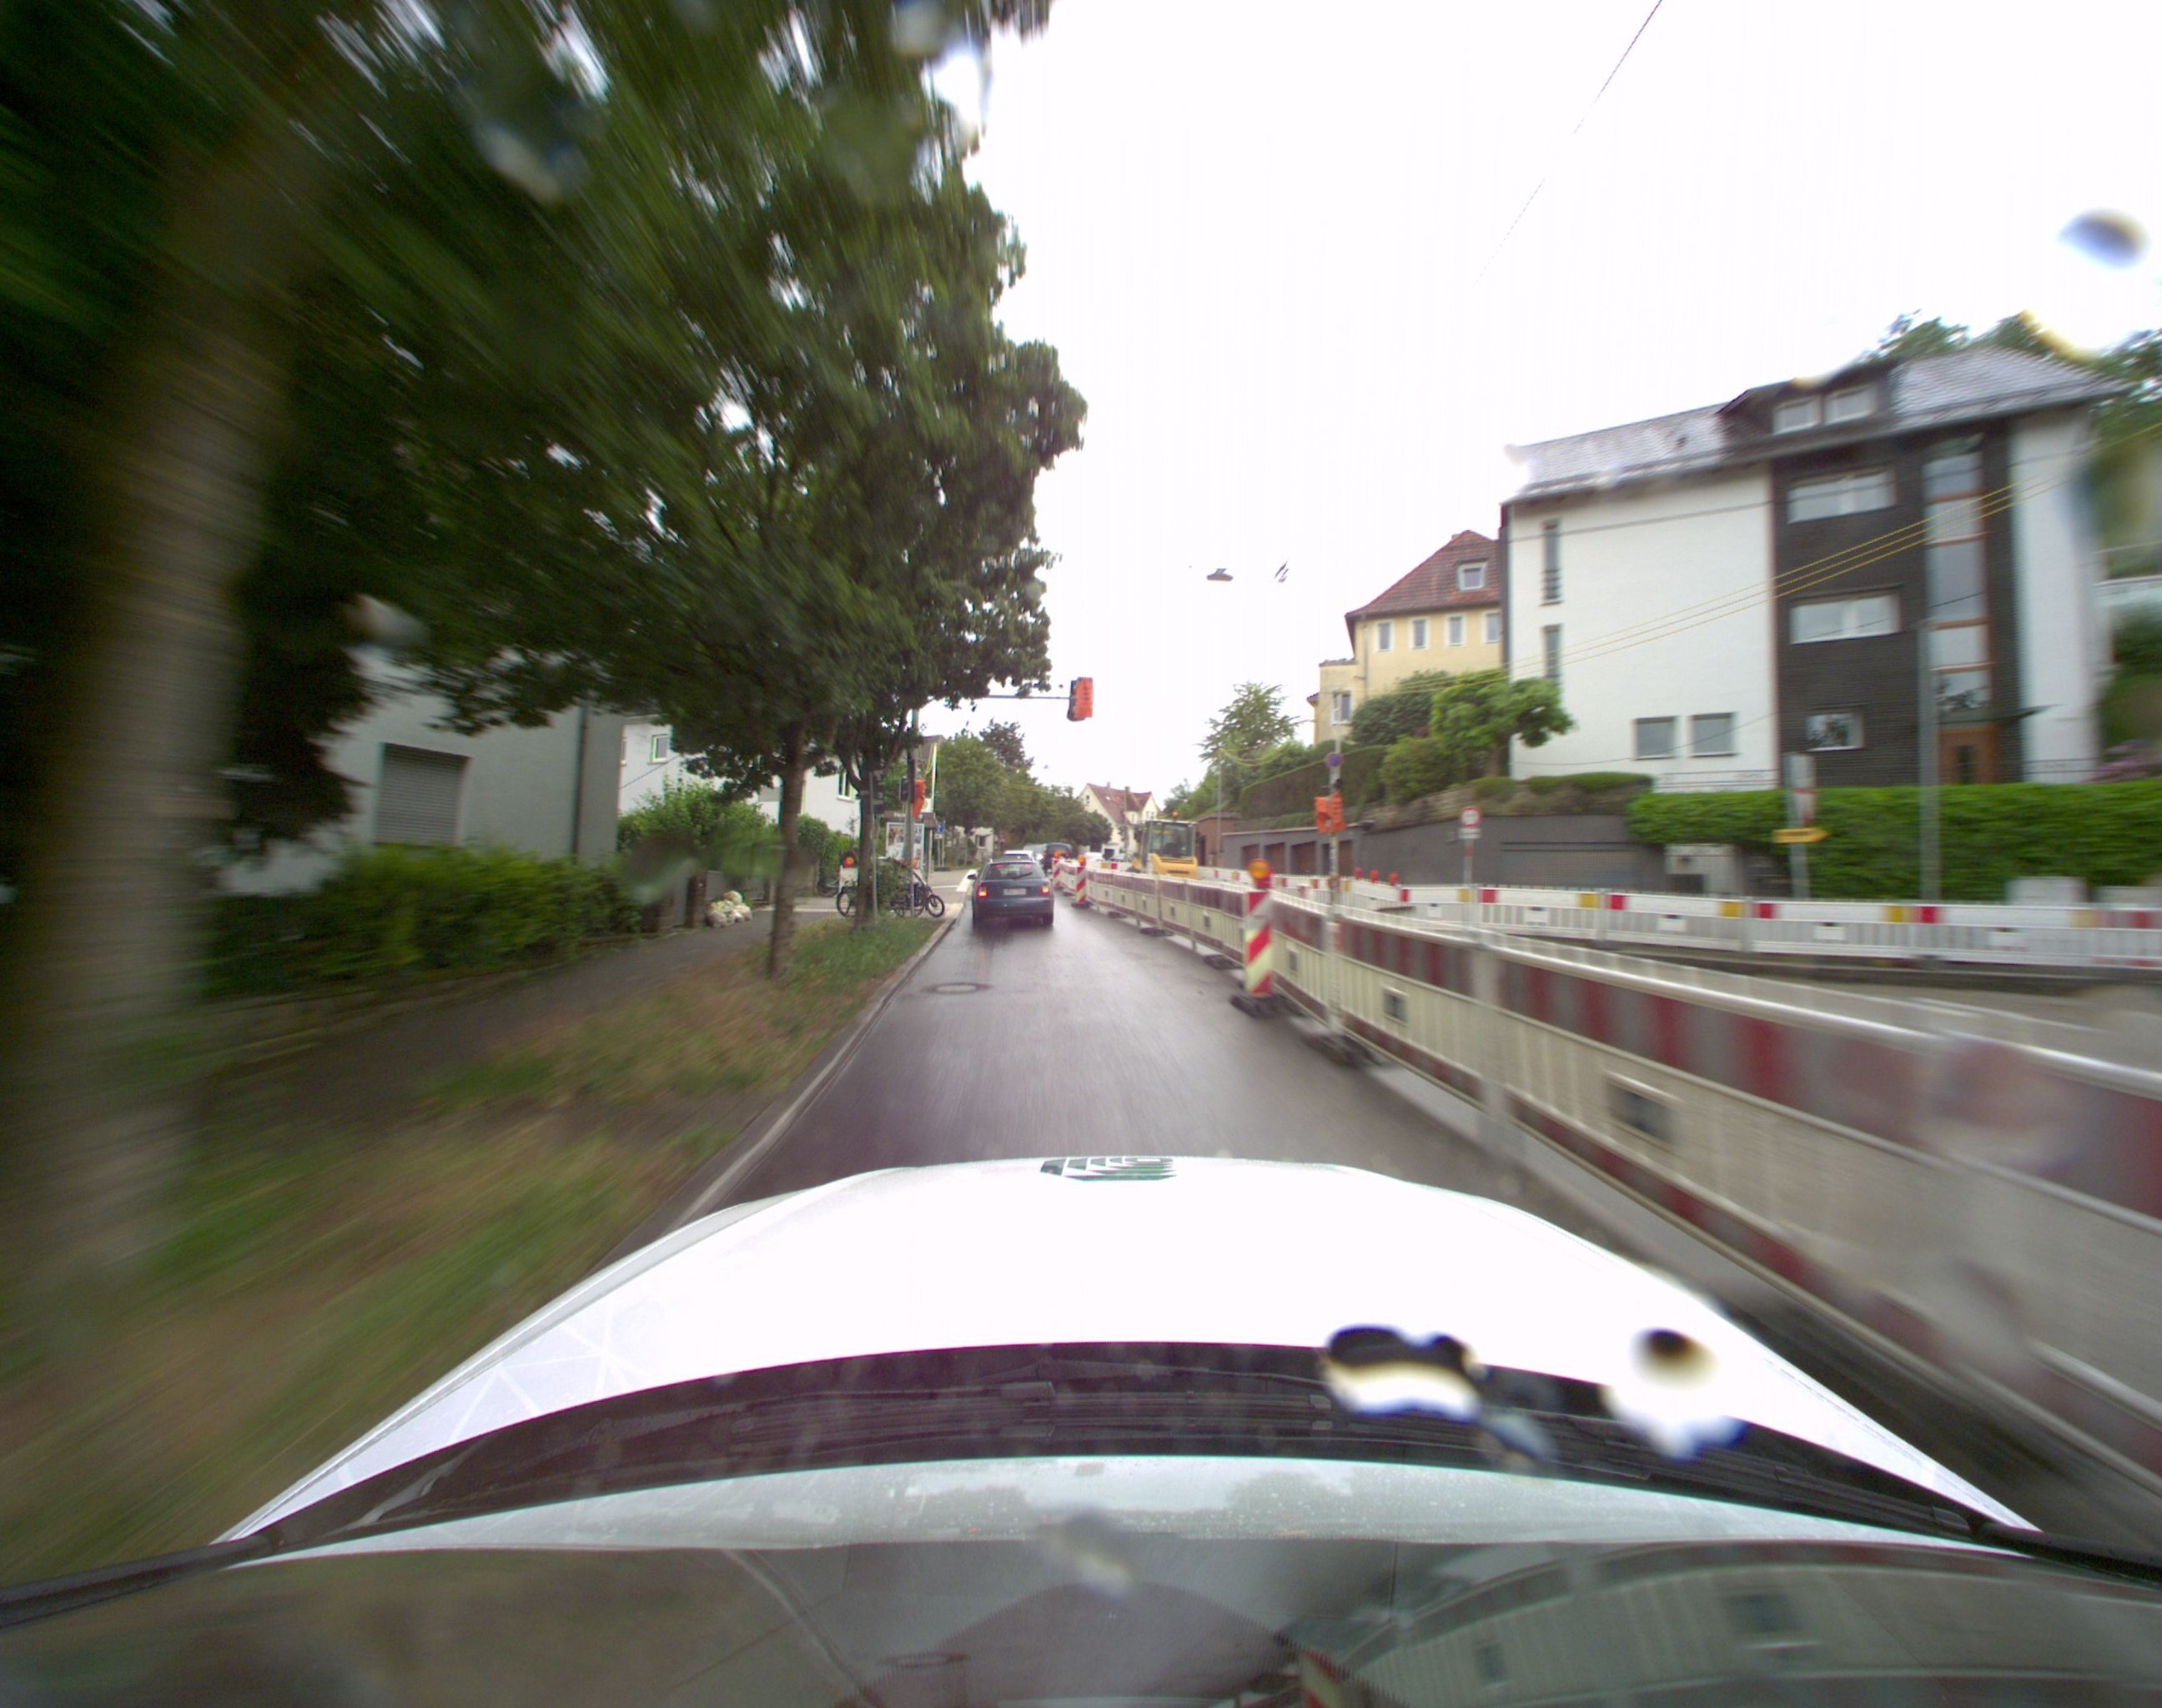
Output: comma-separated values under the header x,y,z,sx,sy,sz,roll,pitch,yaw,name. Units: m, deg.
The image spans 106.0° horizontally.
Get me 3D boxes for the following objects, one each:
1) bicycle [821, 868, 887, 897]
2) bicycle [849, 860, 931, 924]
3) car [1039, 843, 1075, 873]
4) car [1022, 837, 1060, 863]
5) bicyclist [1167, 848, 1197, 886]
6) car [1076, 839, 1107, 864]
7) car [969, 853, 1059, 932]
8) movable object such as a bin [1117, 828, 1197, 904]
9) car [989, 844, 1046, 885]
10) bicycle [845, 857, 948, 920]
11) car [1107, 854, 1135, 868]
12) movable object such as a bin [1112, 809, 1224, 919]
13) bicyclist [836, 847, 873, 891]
x,y,z,sx,sy,sz,roll,pitch,yaw,name
-7.560,0.941,27.208,1.865,0.932,1.097,0,-1,0,bicycle
-4.174,0.839,17.834,1.692,1.345,0.417,2,1,-13,bicycle
-1.469,0.210,51.076,1.725,1.768,4.241,-1,1,5,car
-2.993,-0.276,62.560,1.885,1.889,5.166,0,-1,9,car
4.729,0.603,38.044,1.063,1.728,0.938,1,-1,27,bicyclist
0.844,-0.163,61.849,1.724,1.769,4.244,2,0,8,car
-1.616,0.769,18.454,1.733,1.466,3.988,-1,1,-9,car
2.973,0.422,33.409,2.084,2.838,5.664,1,1,-7,movable object such as a bin
-2.776,0.413,36.608,1.967,1.635,4.239,-1,1,3,car
-4.160,0.765,18.428,2.232,1.362,0.805,0,-1,-14,bicycle
4.432,0.797,89.693,1.655,1.466,3.916,0,-1,24,car
2.396,0.360,24.106,2.084,2.839,5.662,1,-2,-7,movable object such as a bin
-7.569,0.500,27.215,0.903,1.439,1.097,0,-1,1,bicyclist
